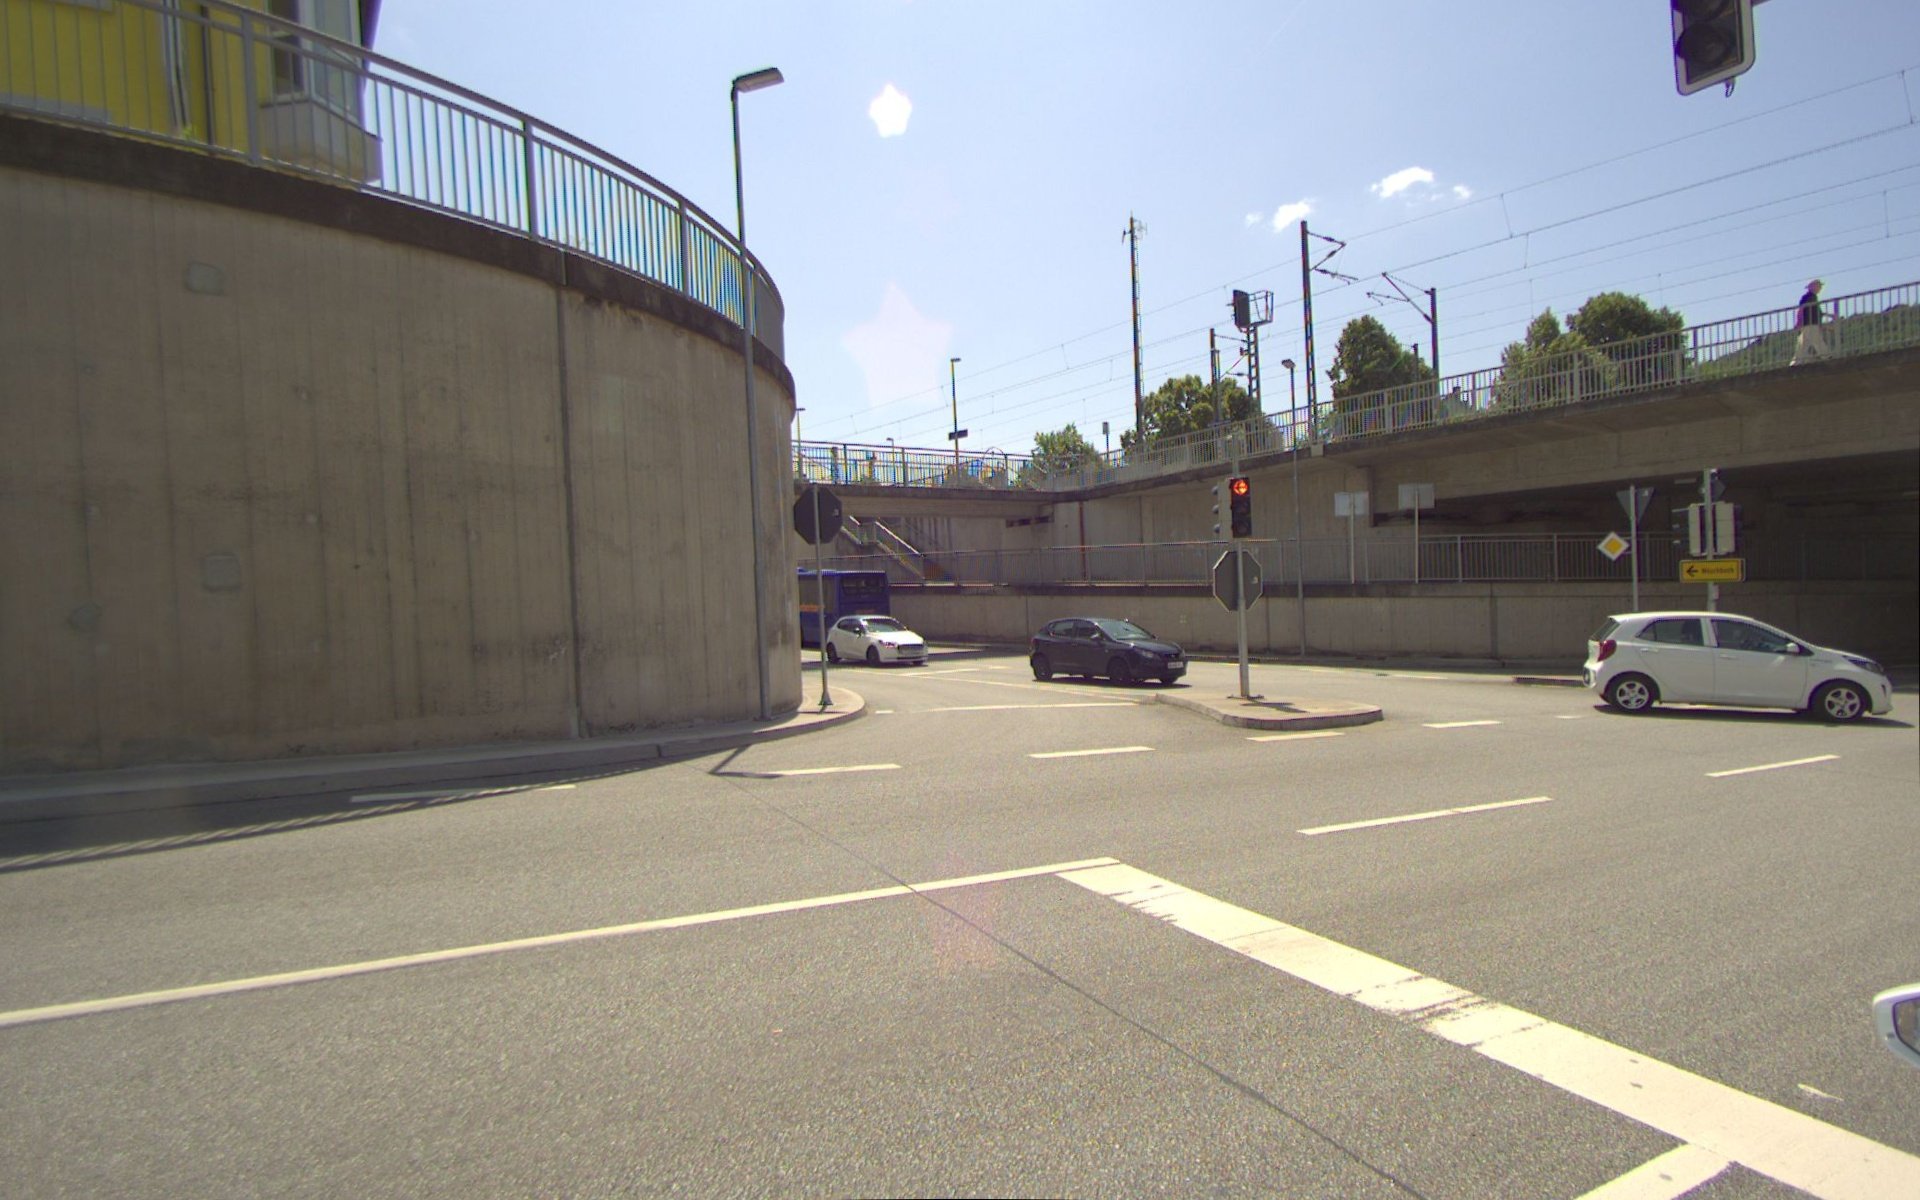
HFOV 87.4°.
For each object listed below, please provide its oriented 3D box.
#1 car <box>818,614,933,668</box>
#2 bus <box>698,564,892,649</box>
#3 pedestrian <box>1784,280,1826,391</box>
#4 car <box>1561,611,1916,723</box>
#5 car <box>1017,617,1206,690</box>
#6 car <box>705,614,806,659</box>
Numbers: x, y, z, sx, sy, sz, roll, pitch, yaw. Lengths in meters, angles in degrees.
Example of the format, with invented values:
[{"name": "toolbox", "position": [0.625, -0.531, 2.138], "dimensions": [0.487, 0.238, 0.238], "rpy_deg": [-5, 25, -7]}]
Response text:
[{"name": "car", "position": [-2.612, 1.170, 30.243], "dimensions": [1.711, 1.451, 3.871], "rpy_deg": [-2, 1, -36]}, {"name": "bus", "position": [-7.515, 0.257, 43.433], "dimensions": [2.567, 3.215, 12.238], "rpy_deg": [-2, 1, -39]}, {"name": "pedestrian", "position": [17.625, -5.495, 20.950], "dimensions": [0.531, 2.108, 0.571], "rpy_deg": [1, -1, -40]}, {"name": "car", "position": [11.313, 0.921, 14.985], "dimensions": [3.927, 1.439, 1.728], "rpy_deg": [-1, 1, 29]}, {"name": "car", "position": [3.230, 1.099, 22.047], "dimensions": [1.752, 1.393, 3.955], "rpy_deg": [-2, 1, -39]}, {"name": "car", "position": [-7.634, 1.324, 37.279], "dimensions": [1.983, 1.493, 4.080], "rpy_deg": [-2, 0, -39]}]
